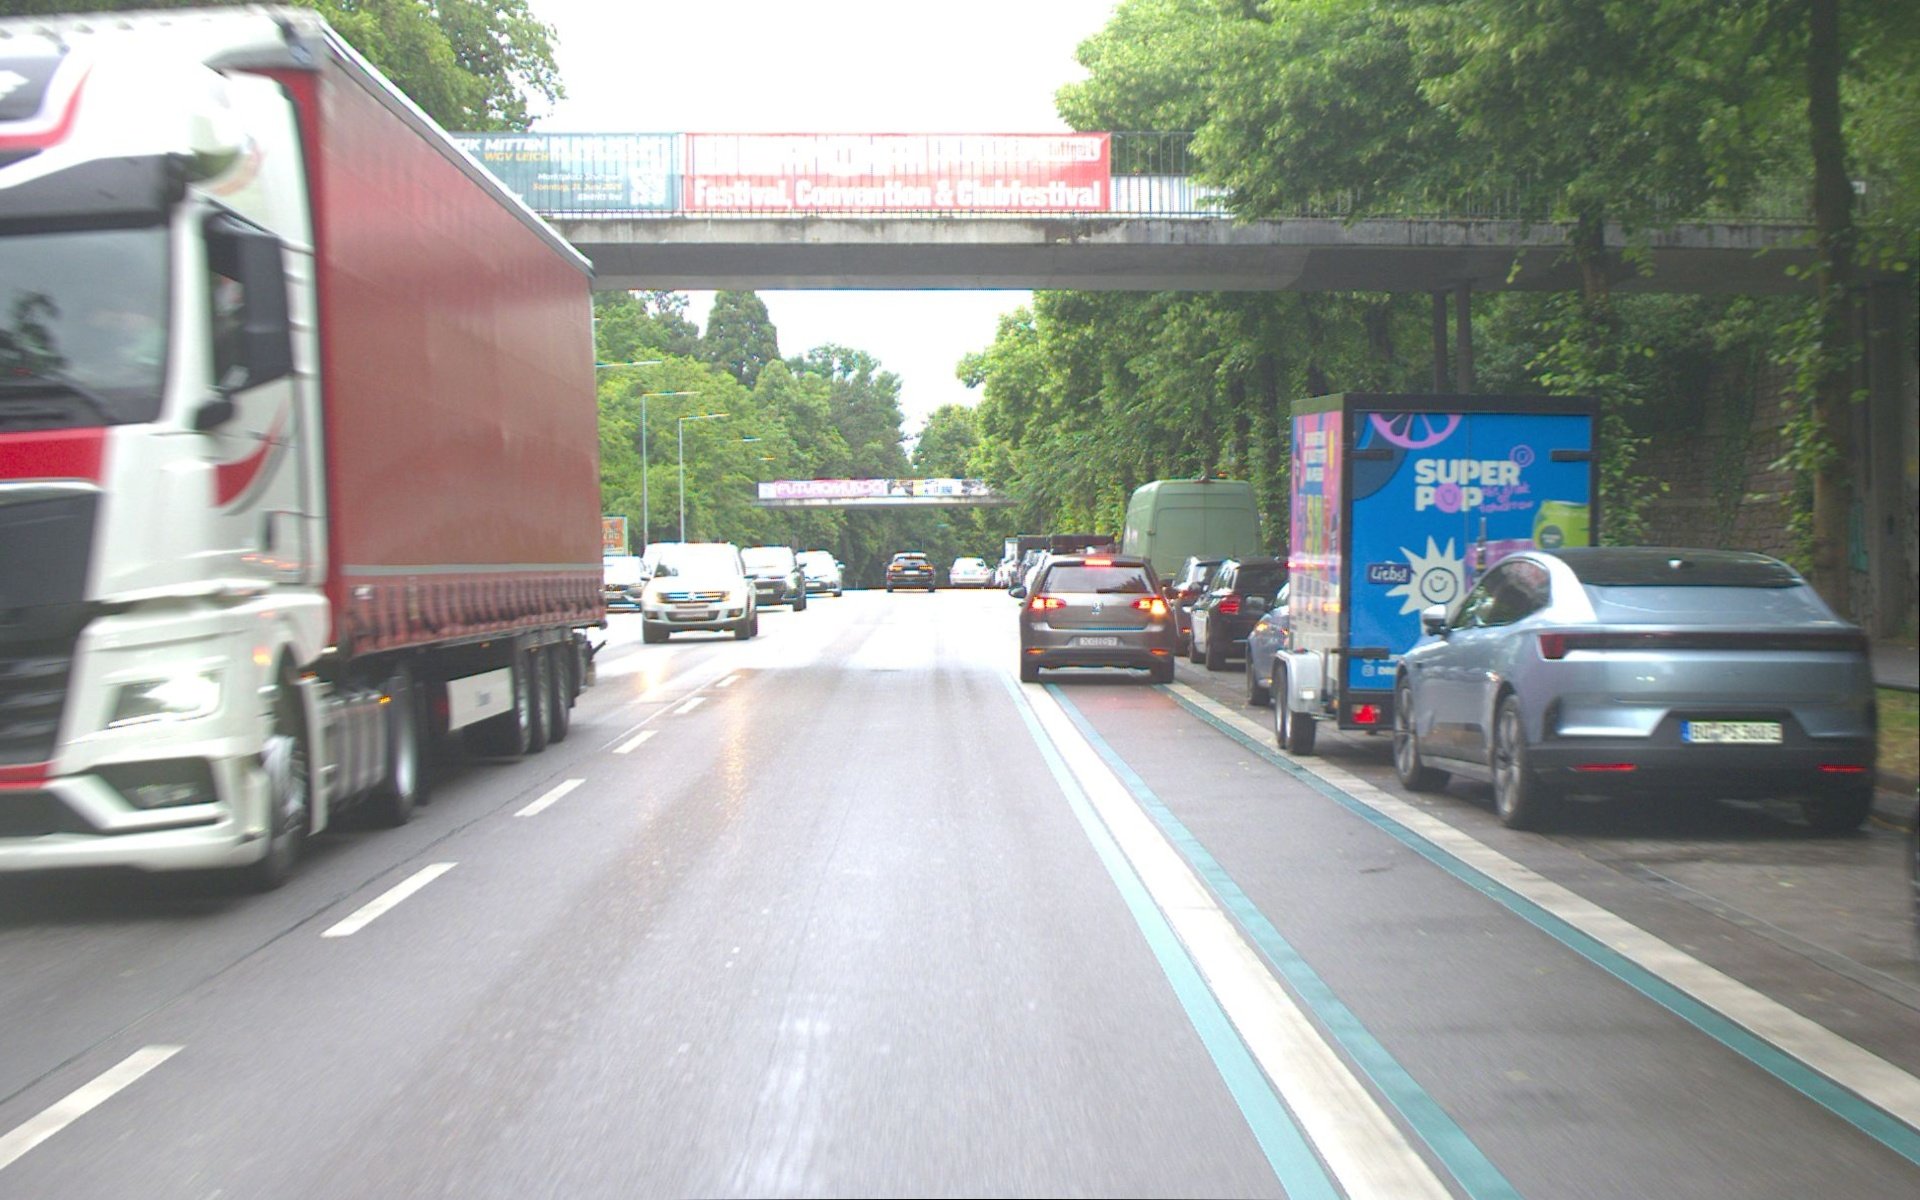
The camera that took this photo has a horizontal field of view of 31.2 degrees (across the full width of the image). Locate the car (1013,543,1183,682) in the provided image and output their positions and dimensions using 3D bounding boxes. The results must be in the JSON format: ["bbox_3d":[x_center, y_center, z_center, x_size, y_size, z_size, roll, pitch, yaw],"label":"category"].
[{"bbox_3d":[1.539,0.104,39.639,1.818,1.503,4.139,0,1,0],"label":"car"}]

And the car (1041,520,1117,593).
[{"bbox_3d":[3.312,-1.232,96.327,1.926,2.015,4.664,0,1,0],"label":"car"}]

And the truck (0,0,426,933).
[{"bbox_3d":[-4.261,-0.725,16.028,2.518,4.032,4.916,-3,1,1],"label":"truck"}]

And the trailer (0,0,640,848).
[{"bbox_3d":[-4.253,-1.002,24.024,2.687,4.244,12.770,-3,1,0],"label":"trailer"}]

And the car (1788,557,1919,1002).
[{"bbox_3d":[4.177,0.619,11.099,1.825,1.498,4.571,-1,1,-1],"label":"car"}]

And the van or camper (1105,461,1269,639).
[{"bbox_3d":[3.672,-0.839,56.809,2.042,2.720,6.901,1,1,-1],"label":"van or camper"}]

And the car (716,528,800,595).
[{"bbox_3d":[-5.128,-1.000,87.746,1.966,1.622,4.321,-1,1,-1],"label":"car"}]

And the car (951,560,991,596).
[{"bbox_3d":[0.487,-1.025,156.708,1.731,1.578,4.037,-1,1,-1],"label":"car"}]

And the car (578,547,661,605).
[{"bbox_3d":[-9.310,-0.668,94.279,2.077,1.477,4.674,-1,2,-3],"label":"car"}]

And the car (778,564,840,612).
[{"bbox_3d":[-5.082,-0.407,116.179,1.921,1.555,4.621,1,1,0],"label":"car"}]

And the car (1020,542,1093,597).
[{"bbox_3d":[2.807,-0.902,101.238,1.789,1.537,4.890,1,1,-2],"label":"car"}]

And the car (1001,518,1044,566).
[{"bbox_3d":[2.837,-2.641,156.196,1.889,2.120,4.045,-1,1,1],"label":"car"}]

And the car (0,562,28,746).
[{"bbox_3d":[-8.664,0.485,26.918,1.831,1.472,4.041,-1,2,-3],"label":"car"}]

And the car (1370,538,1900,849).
[{"bbox_3d":[3.754,0.444,20.050,1.899,1.542,4.756,1,1,-3],"label":"car"}]

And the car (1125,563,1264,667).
[{"bbox_3d":[3.346,0.180,49.678,1.686,1.411,4.100,0,1,0],"label":"car"}]

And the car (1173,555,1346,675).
[{"bbox_3d":[3.776,0.151,43.983,1.686,1.411,4.197,-1,1,-2],"label":"car"}]

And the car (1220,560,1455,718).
[{"bbox_3d":[3.496,0.326,32.440,1.584,1.348,3.863,1,1,-3],"label":"car"}]

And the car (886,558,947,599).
[{"bbox_3d":[-1.643,-0.808,127.643,2.140,1.487,4.499,0,1,-2],"label":"car"}]

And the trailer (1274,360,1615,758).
[{"bbox_3d":[3.537,-0.322,25.805,1.952,2.749,4.007,0,1,-1],"label":"trailer"}]

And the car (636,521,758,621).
[{"bbox_3d":[-4.497,-0.526,59.242,1.834,1.661,4.181,0,1,-1],"label":"car"}]

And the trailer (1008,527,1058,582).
[{"bbox_3d":[2.945,-1.847,139.500,1.884,2.158,3.808,-1,1,0],"label":"trailer"}]
